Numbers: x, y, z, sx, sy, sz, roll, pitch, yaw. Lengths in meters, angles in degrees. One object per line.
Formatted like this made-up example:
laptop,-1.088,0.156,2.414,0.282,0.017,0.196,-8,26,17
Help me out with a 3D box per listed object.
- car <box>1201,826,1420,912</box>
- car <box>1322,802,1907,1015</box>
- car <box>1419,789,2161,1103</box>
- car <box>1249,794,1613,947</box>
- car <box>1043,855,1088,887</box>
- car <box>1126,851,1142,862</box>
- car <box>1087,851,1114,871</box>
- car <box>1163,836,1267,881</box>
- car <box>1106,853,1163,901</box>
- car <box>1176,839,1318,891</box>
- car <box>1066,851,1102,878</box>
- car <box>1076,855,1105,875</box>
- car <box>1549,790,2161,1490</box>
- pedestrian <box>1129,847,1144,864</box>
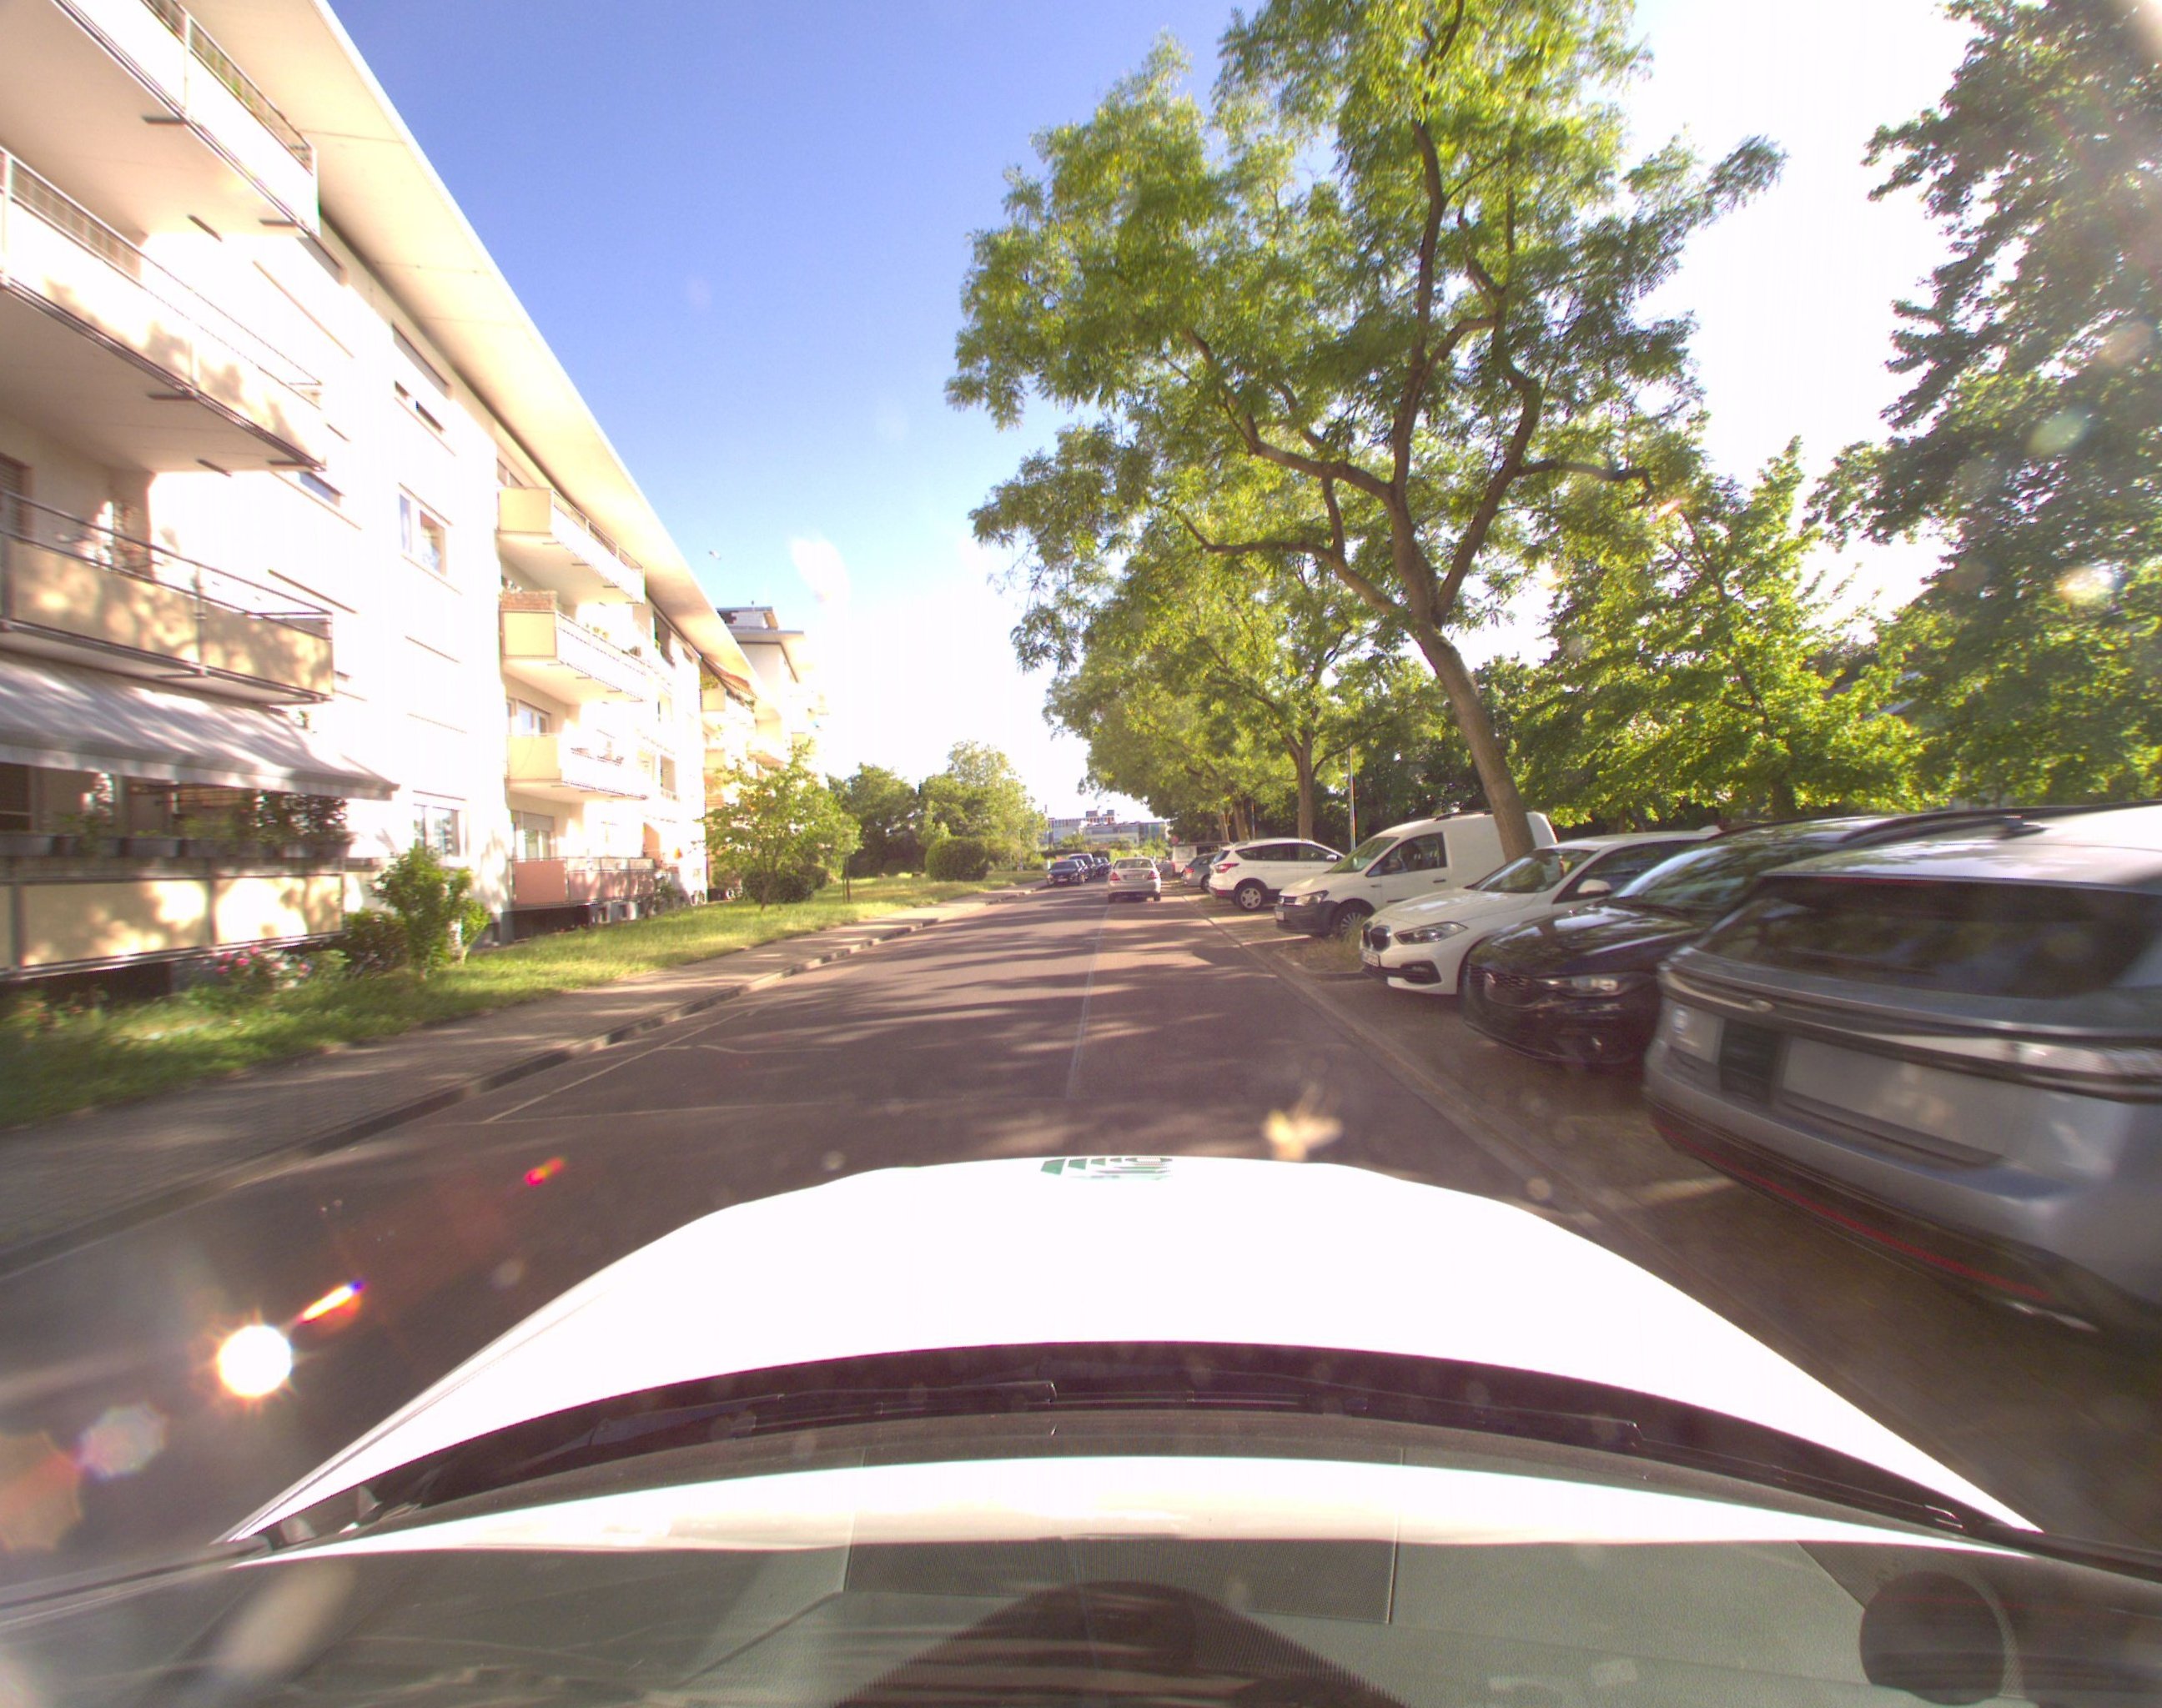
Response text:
car,5.588,0.360,20.350,4.863,1.723,2.002,-4,0,3
car,4.929,0.469,8.071,4.430,1.517,2.000,-4,0,0
car,4.783,0.484,5.302,4.408,1.571,1.739,-3,0,3
car,5.365,0.221,12.902,4.875,1.924,1.997,-4,0,-5
car,-0.819,0.922,45.548,1.904,1.490,3.843,-5,0,6
car,7.895,0.386,120.576,1.882,1.502,3.666,-3,0,9
car,1.726,0.561,70.679,1.741,1.520,4.202,-4,0,7
car,7.016,0.242,42.953,5.193,2.059,2.003,-3,0,4
car,1.774,0.747,26.883,1.725,1.434,3.441,-2,-1,4
car,6.164,0.397,30.583,4.869,1.627,2.000,-3,0,-1
car,0.248,0.693,57.589,1.740,1.688,4.275,-4,0,9
car,0.779,0.843,64.150,1.740,1.329,3.459,-5,0,8
car,4.601,0.515,2.824,4.766,1.549,2.012,-3,0,0
pedestrian,7.287,0.218,106.439,1.564,2.089,1.729,-3,0,12
